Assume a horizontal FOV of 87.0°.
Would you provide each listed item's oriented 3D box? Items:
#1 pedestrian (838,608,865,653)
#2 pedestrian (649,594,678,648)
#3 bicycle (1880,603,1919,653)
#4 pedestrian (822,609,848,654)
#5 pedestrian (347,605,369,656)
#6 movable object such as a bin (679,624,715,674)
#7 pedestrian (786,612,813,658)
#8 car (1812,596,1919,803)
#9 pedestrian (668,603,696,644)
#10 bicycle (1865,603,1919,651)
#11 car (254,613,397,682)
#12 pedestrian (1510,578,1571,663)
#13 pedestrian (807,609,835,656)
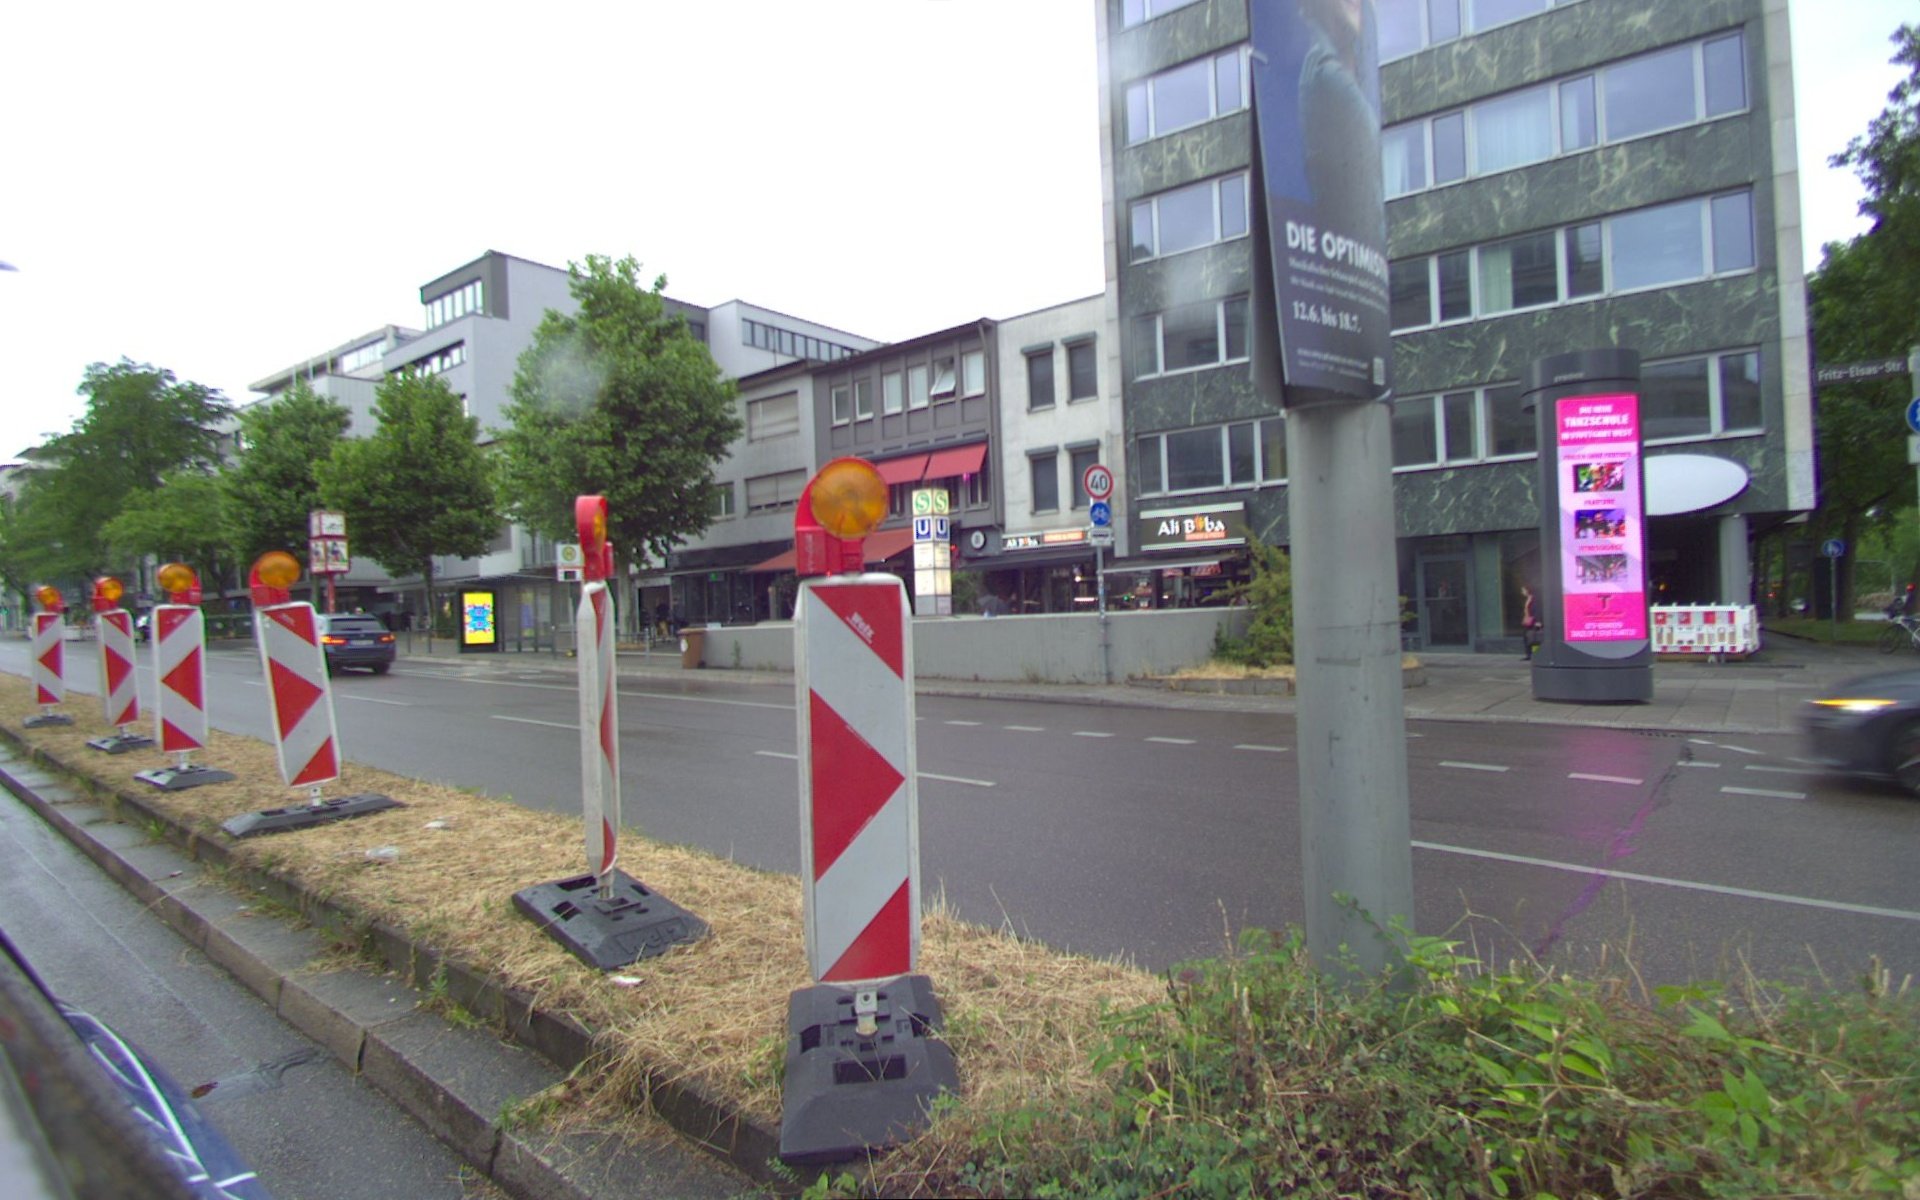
[{"bbox_3d":[-3.749,1.039,35.012,0.611,1.540,0.660,-2,-1,44],"label":"pedestrian"},{"bbox_3d":[-11.309,0.805,38.588,0.764,2.029,0.768,-1,0,-41],"label":"pedestrian"},{"bbox_3d":[20.773,0.595,21.477,1.780,1.060,0.579,-1,-1,37],"label":"bicycle"},{"bbox_3d":[-4.362,1.108,35.382,0.611,1.540,0.660,-2,-1,44],"label":"pedestrian"},{"bbox_3d":[-22.124,1.114,37.169,0.567,1.839,0.581,-1,0,-43],"label":"pedestrian"},{"bbox_3d":[-6.095,1.128,23.447,0.660,1.109,0.501,-1,0,39],"label":"movable object such as a bin"},{"bbox_3d":[-5.433,1.173,34.304,0.611,1.540,0.660,-2,-1,44],"label":"pedestrian"},{"bbox_3d":[8.404,0.635,6.636,4.213,1.442,1.669,-3,-2,43],"label":"car"},{"bbox_3d":[-10.755,0.899,39.195,0.764,1.577,0.768,-1,0,-41],"label":"pedestrian"},{"bbox_3d":[21.269,0.590,22.385,1.780,1.060,0.579,-1,-1,37],"label":"bicycle"},{"bbox_3d":[-15.862,1.117,25.211,4.415,1.566,1.671,-1,0,39],"label":"car"},{"bbox_3d":[12.347,0.423,21.521,1.029,1.747,1.194,-1,0,34],"label":"pedestrian"},{"bbox_3d":[-4.591,1.075,33.423,0.611,1.540,0.660,-2,-1,44],"label":"pedestrian"}]
